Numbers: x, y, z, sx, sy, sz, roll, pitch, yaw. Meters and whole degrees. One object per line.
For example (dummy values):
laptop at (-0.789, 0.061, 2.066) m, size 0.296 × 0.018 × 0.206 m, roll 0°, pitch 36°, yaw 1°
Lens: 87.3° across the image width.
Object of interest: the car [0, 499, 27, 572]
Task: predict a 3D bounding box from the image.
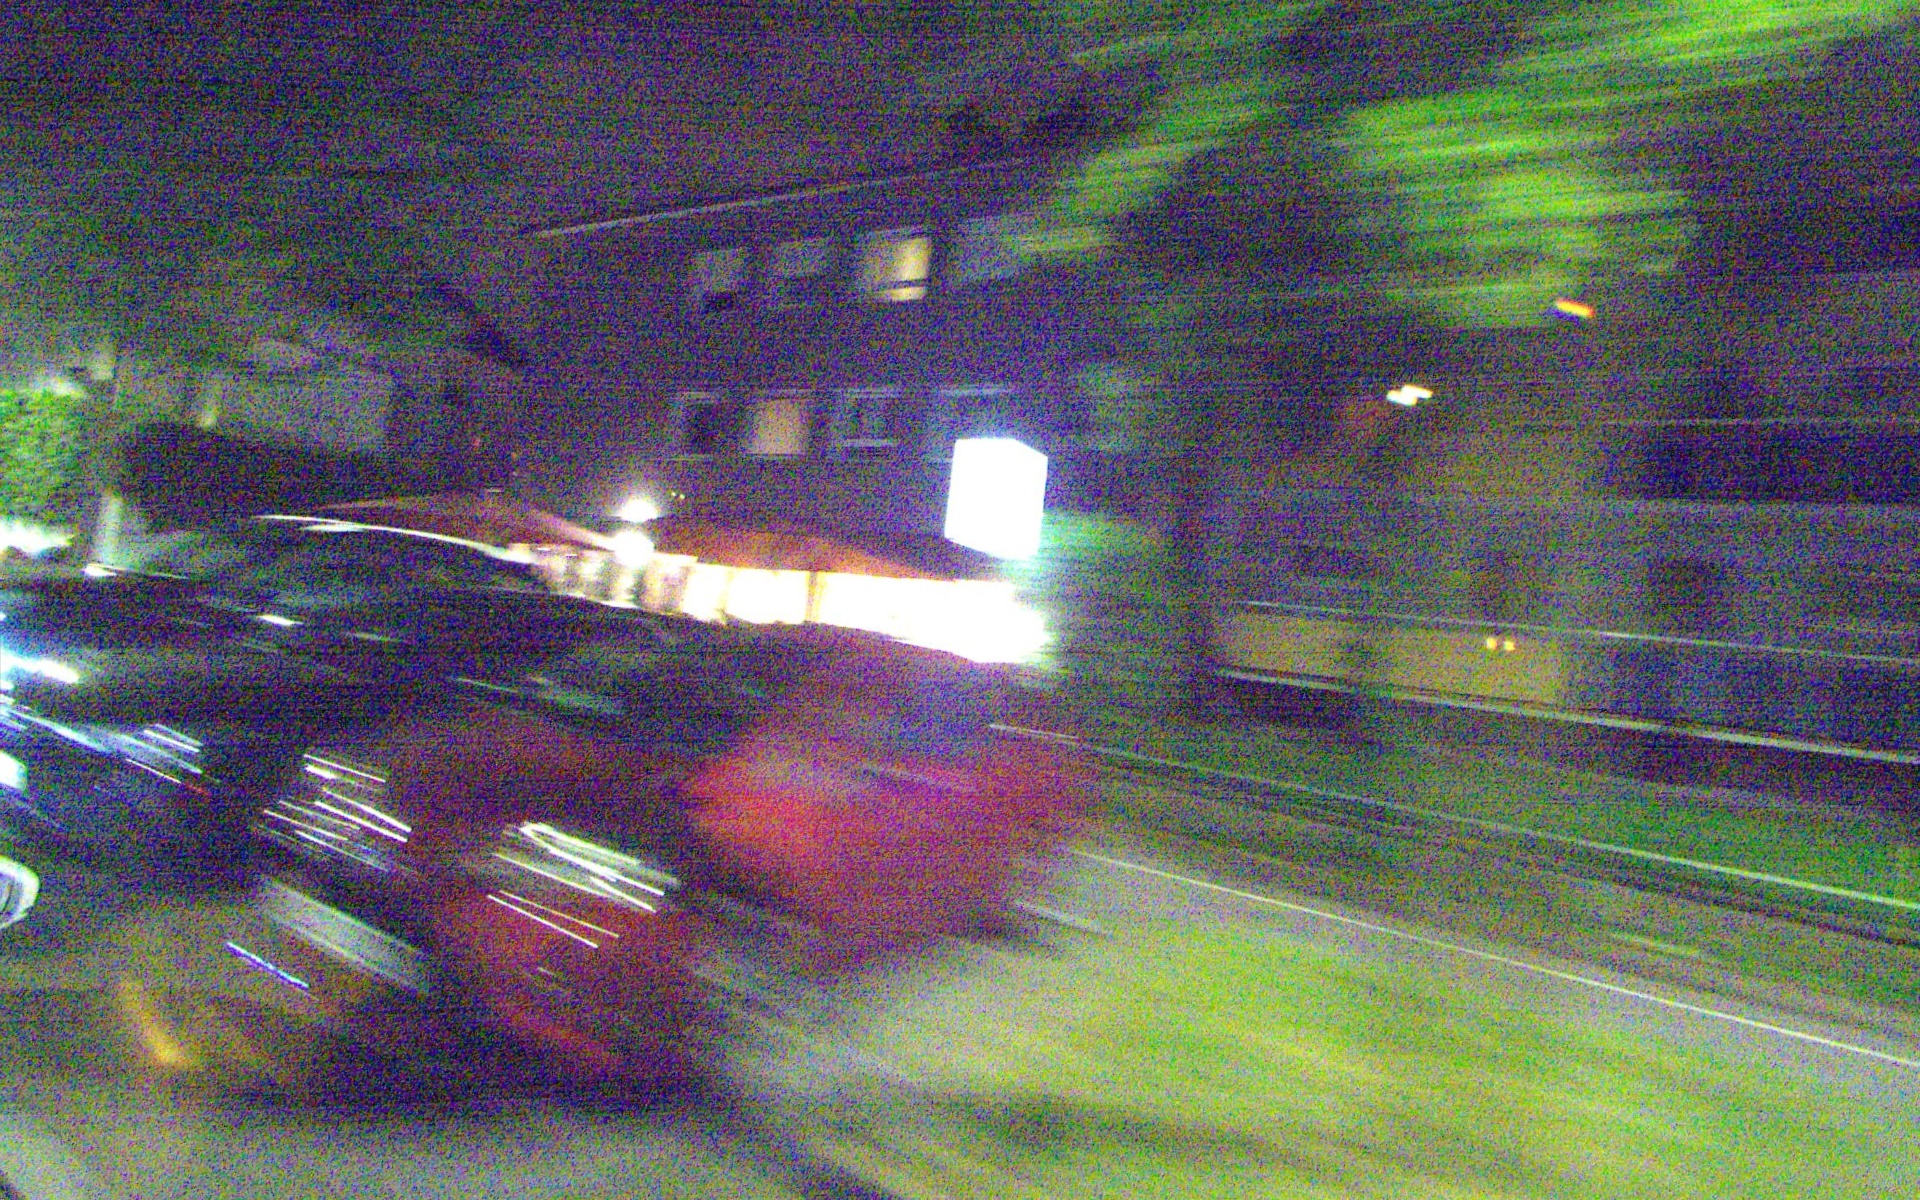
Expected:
car at (-21.894, -1.638, 20.400) m, size 1.802 × 1.503 × 3.913 m, roll 7°, pitch -2°, yaw 30°

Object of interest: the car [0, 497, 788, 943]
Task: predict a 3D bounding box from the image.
car at (-2.995, 0.569, 5.746) m, size 1.822 × 1.530 × 3.929 m, roll 7°, pitch -3°, yaw 27°

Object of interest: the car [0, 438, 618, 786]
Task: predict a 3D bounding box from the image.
car at (-5.010, 0.175, 7.168) m, size 2.000 × 1.836 × 4.360 m, roll 7°, pitch -3°, yaw 36°

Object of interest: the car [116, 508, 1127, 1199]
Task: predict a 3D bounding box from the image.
car at (-0.873, 0.760, 4.484) m, size 1.823 × 1.530 × 3.927 m, roll 6°, pitch -3°, yaw 30°
